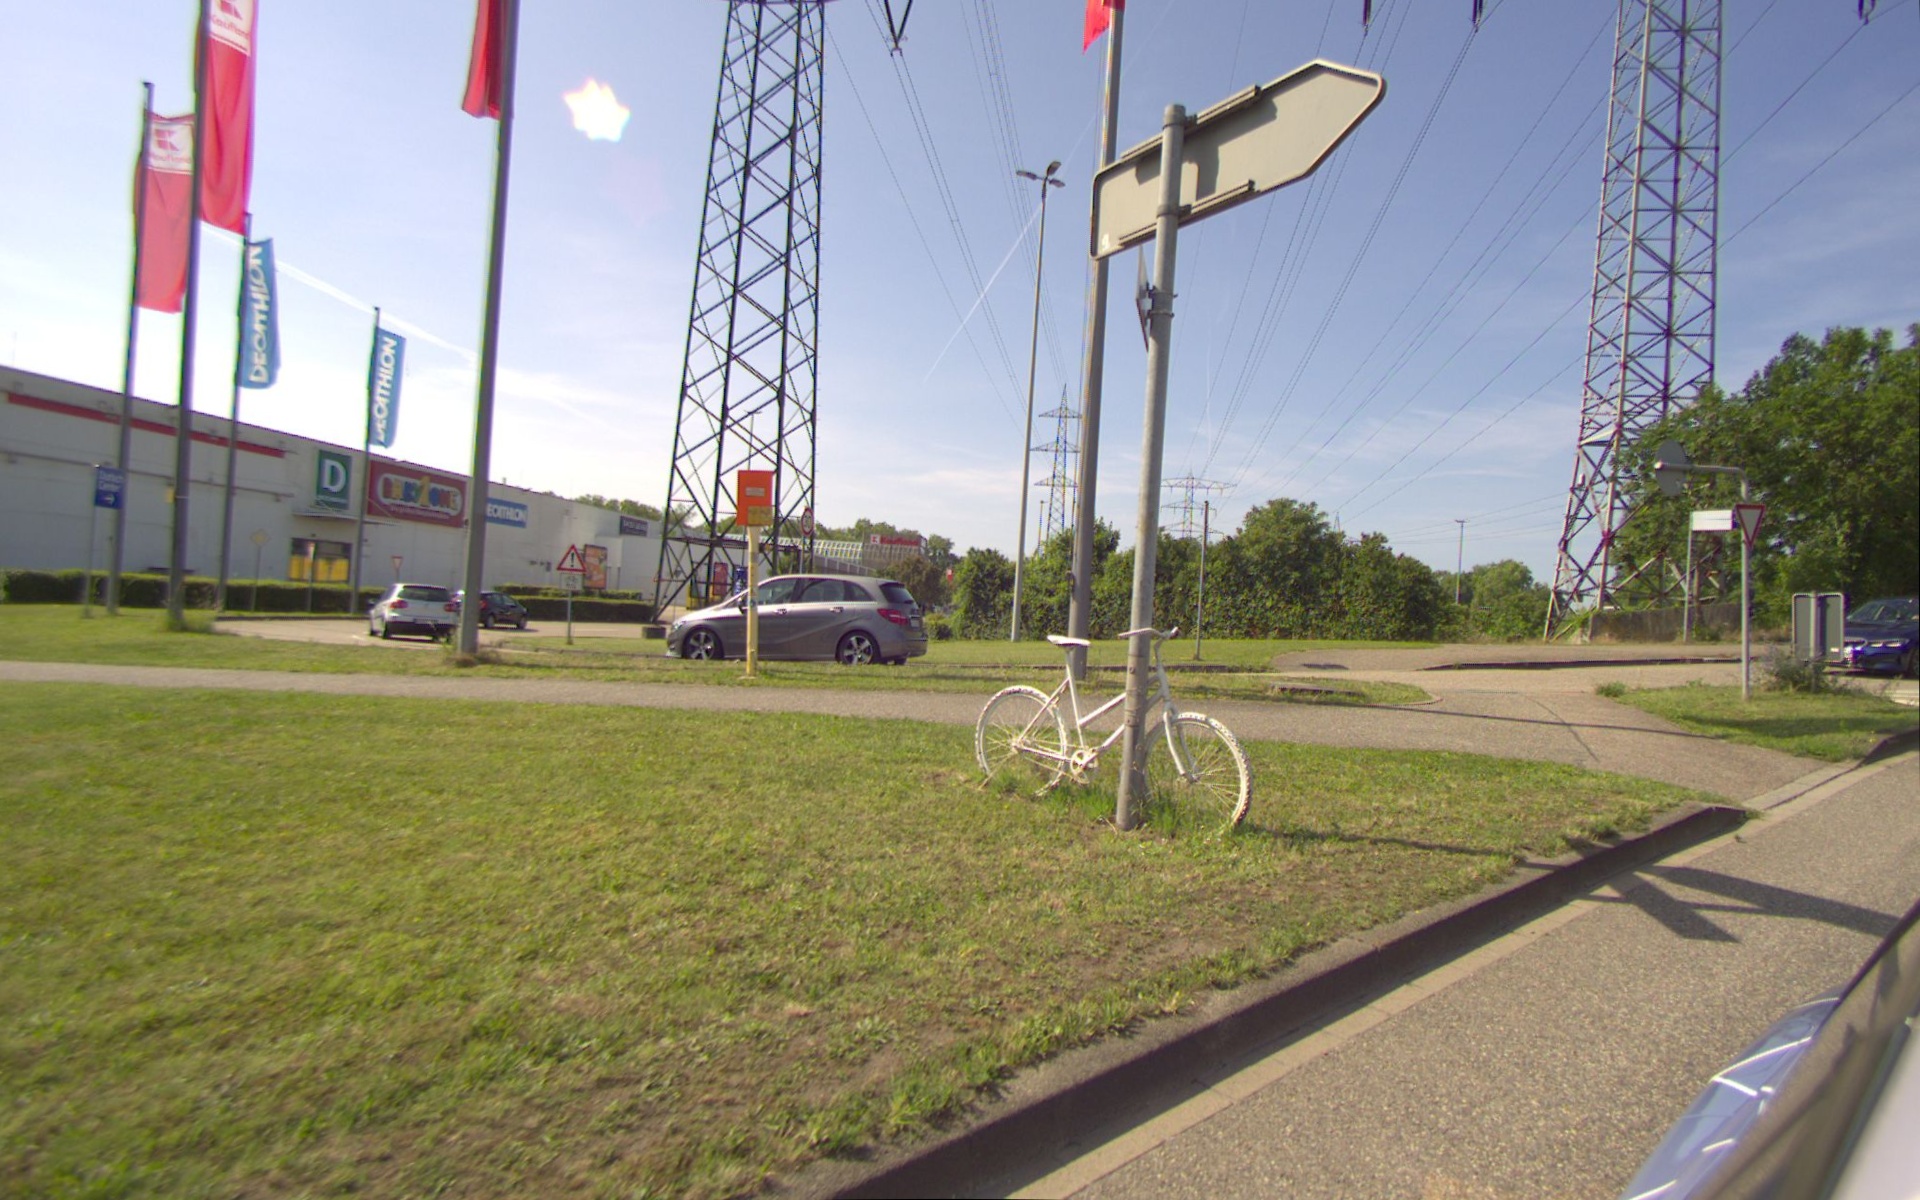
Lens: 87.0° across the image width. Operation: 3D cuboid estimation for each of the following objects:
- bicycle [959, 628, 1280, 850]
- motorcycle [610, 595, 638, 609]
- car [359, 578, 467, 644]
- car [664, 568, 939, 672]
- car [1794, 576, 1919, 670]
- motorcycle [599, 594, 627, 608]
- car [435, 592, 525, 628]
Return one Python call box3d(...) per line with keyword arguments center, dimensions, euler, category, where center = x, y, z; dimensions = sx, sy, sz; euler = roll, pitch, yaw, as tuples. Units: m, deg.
box3d(center=(0.765, 0.656, 5.346), dimensions=(1.783, 0.900, 0.267), euler=(4, 1, 42), category="bicycle")
box3d(center=(-22.558, 0.133, 67.949), dimensions=(1.669, 0.823, 0.435), euler=(4, -1, -1), category="motorcycle")
box3d(center=(-14.534, 0.298, 26.796), dimensions=(1.827, 1.549, 4.141), euler=(4, -3, -37), category="car")
box3d(center=(-2.539, 0.310, 16.659), dimensions=(4.080, 1.549, 1.855), euler=(1, -2, 13), category="car")
box3d(center=(17.659, 0.508, 18.427), dimensions=(4.424, 1.502, 1.797), euler=(5, -1, -21), category="car")
box3d(center=(-22.823, 0.080, 66.545), dimensions=(1.673, 0.823, 0.387), euler=(4, -1, 8), category="motorcycle")
box3d(center=(-19.744, 0.445, 41.798), dimensions=(1.747, 1.349, 3.735), euler=(2, -2, 4), category="car")
